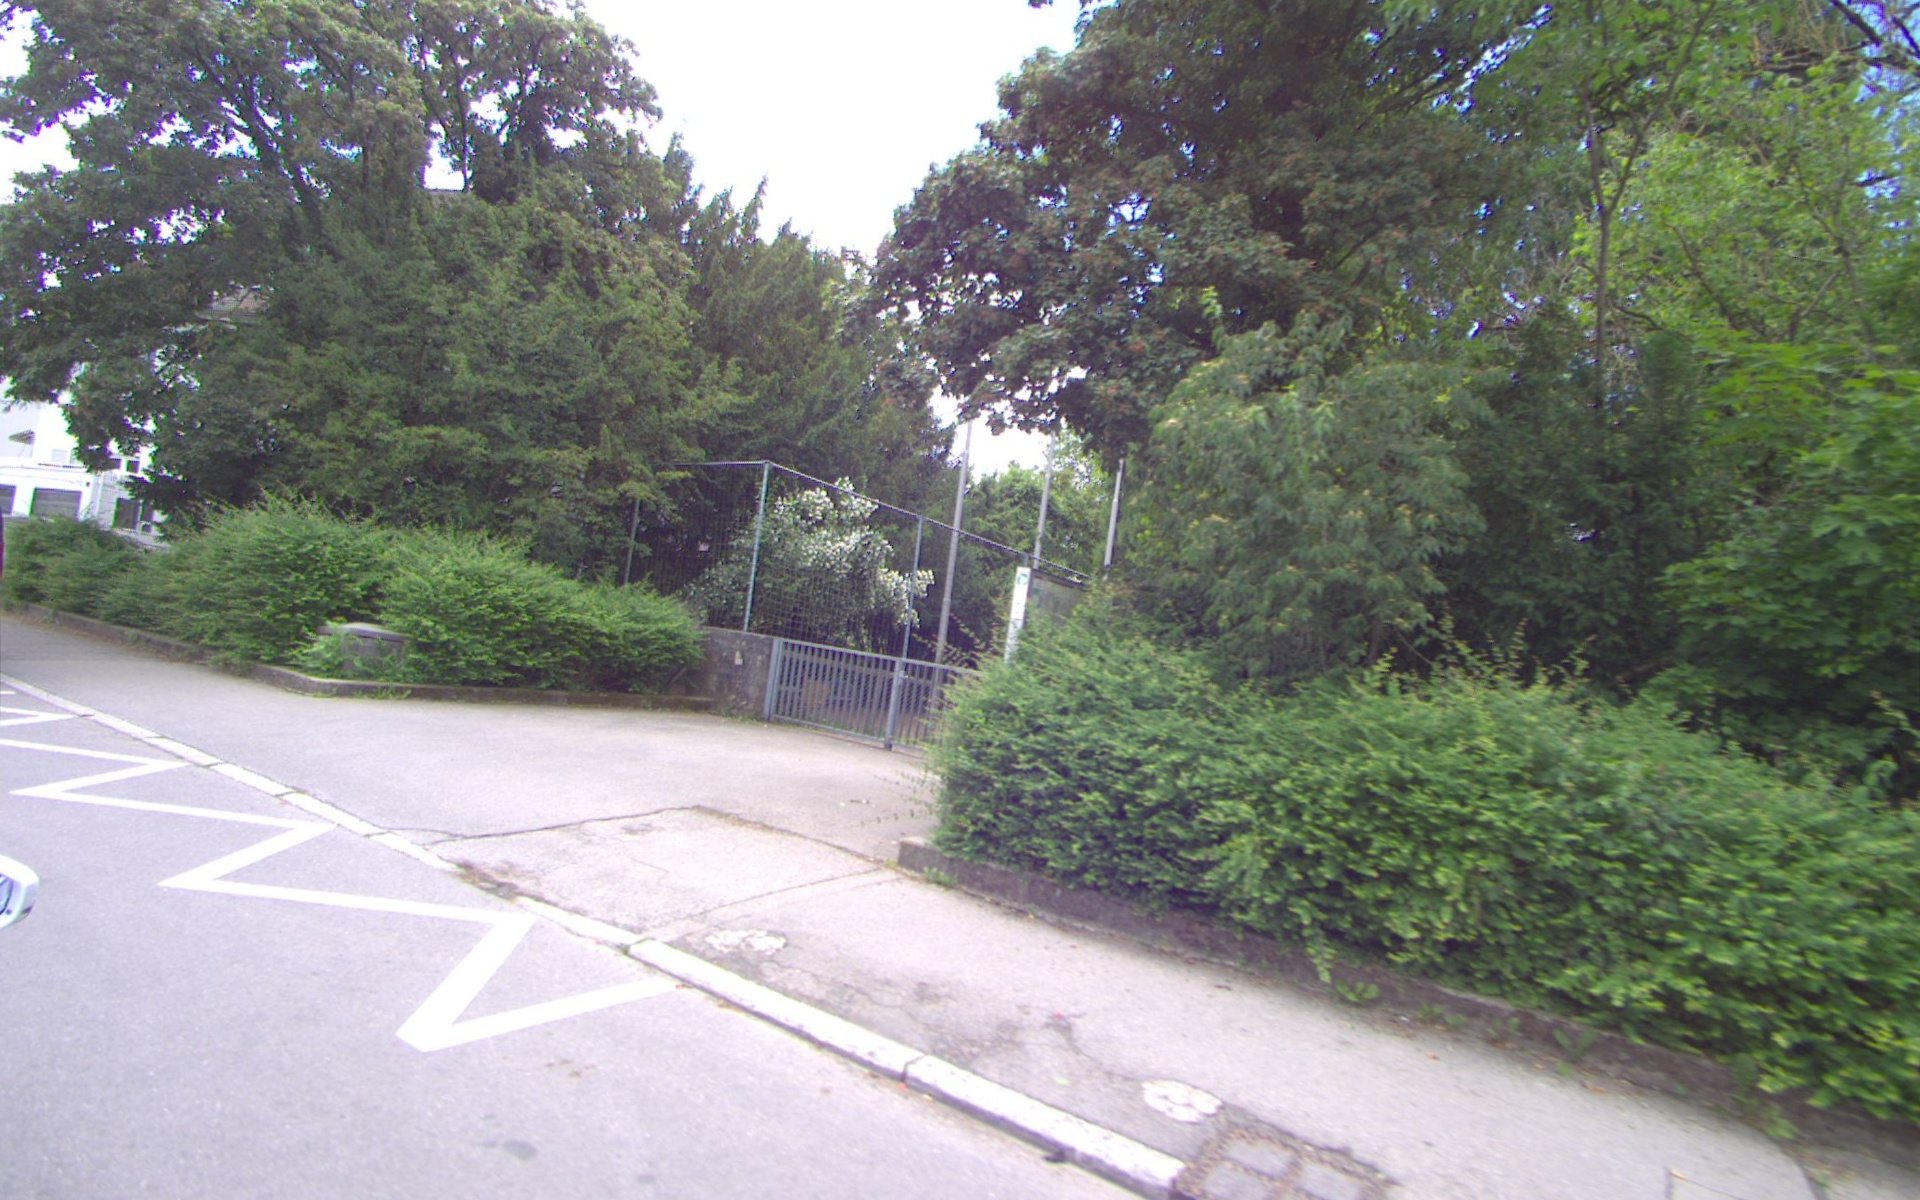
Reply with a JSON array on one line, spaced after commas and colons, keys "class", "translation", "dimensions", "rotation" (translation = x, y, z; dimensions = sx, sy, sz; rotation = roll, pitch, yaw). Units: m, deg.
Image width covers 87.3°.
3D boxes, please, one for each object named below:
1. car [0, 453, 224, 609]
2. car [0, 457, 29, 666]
[{"class": "car", "translation": [-19.637, -1.567, 22.344], "dimensions": [5.089, 2.710, 2.510], "rotation": [7, -3, 18]}, {"class": "car", "translation": [-10.412, -0.539, 8.692], "dimensions": [5.070, 1.869, 1.914], "rotation": [6, -2, 30]}]
